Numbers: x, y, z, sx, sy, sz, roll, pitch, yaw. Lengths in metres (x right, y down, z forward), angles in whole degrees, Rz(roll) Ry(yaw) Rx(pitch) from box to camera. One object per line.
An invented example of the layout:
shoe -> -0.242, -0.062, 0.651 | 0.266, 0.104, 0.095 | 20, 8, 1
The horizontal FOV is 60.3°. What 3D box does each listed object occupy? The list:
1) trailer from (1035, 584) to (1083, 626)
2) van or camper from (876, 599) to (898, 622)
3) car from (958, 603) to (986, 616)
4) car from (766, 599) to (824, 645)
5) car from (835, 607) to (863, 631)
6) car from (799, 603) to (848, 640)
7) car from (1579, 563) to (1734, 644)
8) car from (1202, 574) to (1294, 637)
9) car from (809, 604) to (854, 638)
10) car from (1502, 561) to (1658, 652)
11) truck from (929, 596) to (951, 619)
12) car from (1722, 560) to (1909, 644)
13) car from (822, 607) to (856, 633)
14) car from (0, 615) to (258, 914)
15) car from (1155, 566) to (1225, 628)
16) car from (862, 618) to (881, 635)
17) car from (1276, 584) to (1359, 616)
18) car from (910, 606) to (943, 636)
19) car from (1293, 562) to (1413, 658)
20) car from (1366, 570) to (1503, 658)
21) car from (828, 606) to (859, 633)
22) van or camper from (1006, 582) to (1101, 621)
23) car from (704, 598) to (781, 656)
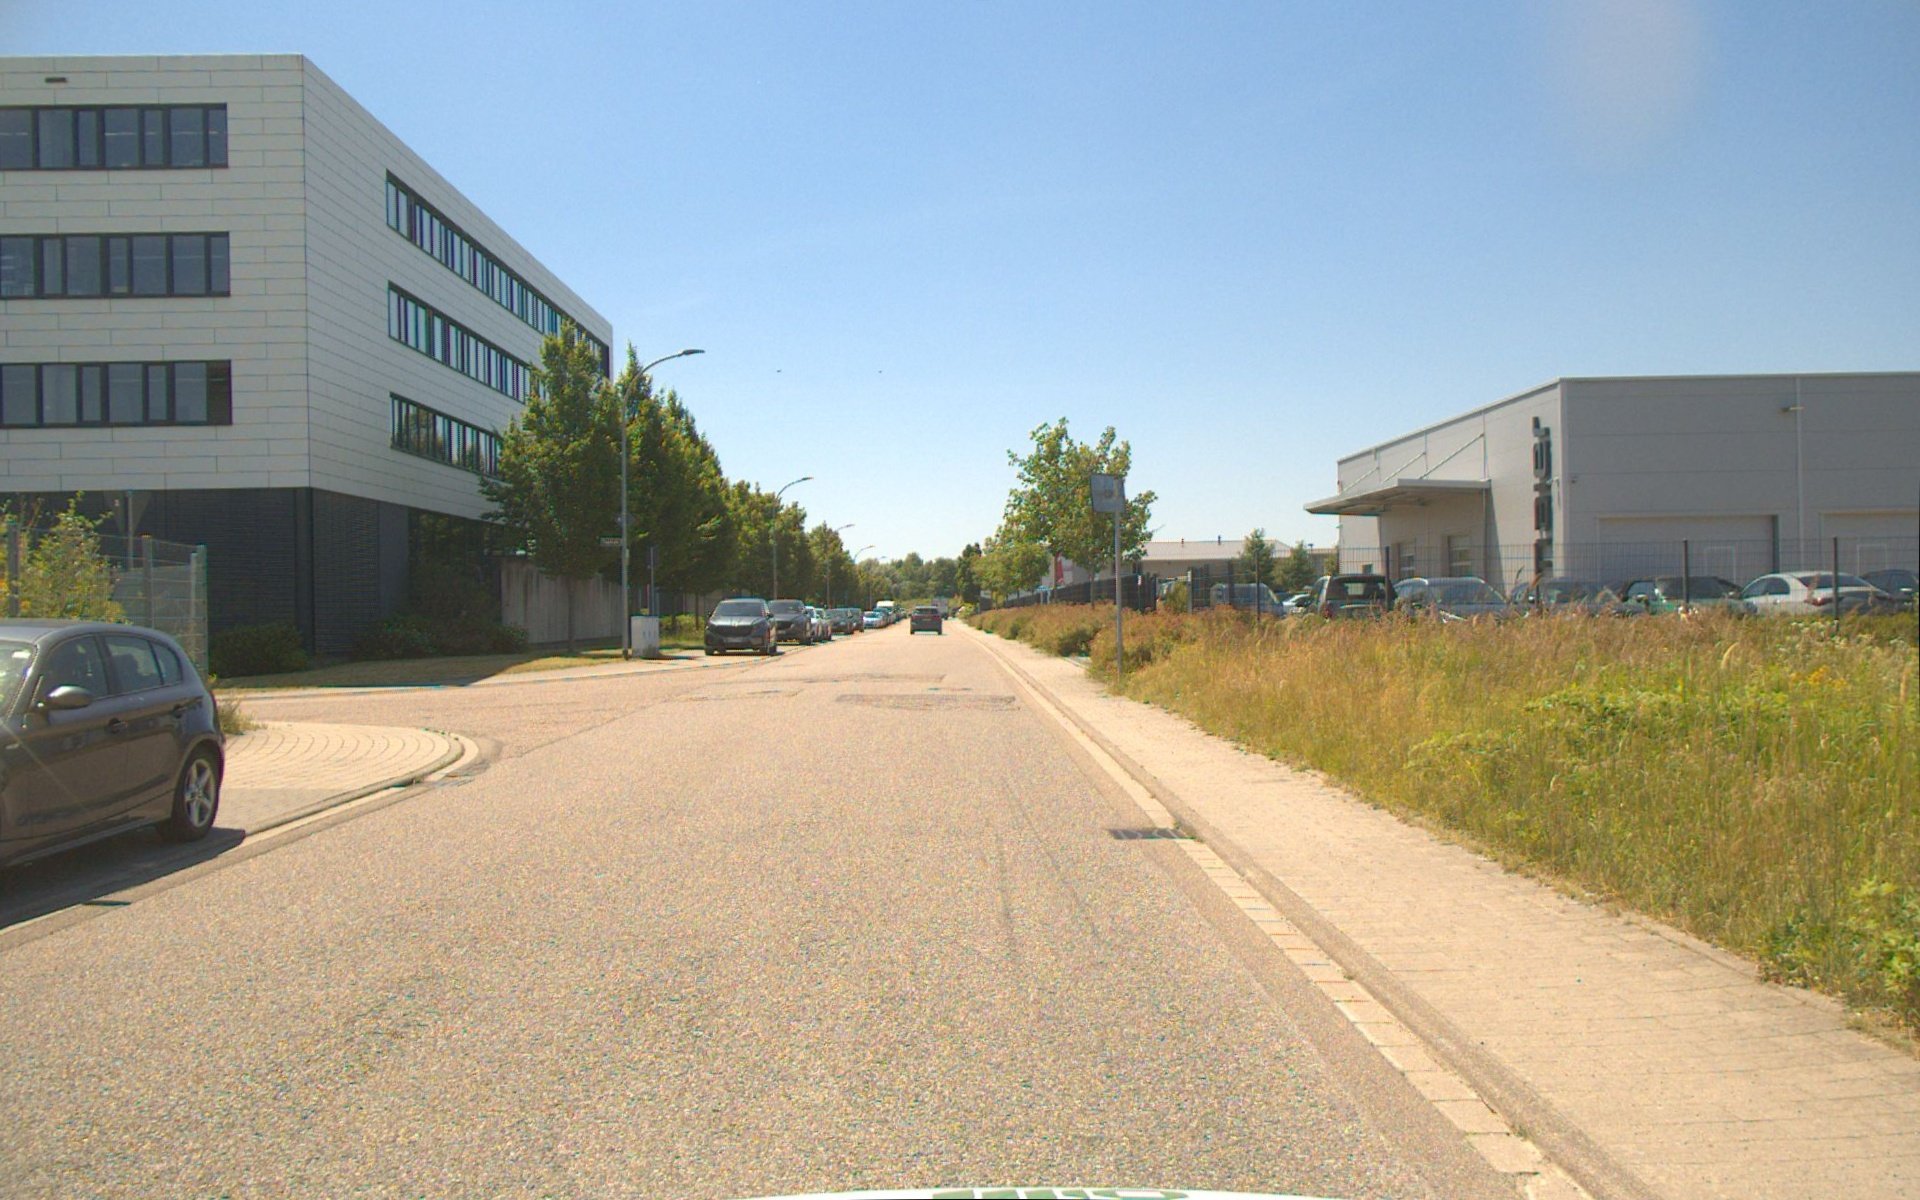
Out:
trailer -> 6.192, 0.303, 103.624 | 2.767, 2.445, 1.418 | -3, 0, -5
van or camper -> -8.305, 1.220, 188.082 | 2.035, 2.526, 6.131 | 1, -1, 1
car -> 1.730, 1.339, 234.572 | 3.798, 1.780, 1.750 | 1, -1, -3
car -> -6.048, 0.792, 60.880 | 1.735, 1.652, 4.581 | 0, 0, -1
car -> -7.687, 1.330, 114.698 | 1.735, 1.640, 4.245 | -1, -1, -2
car -> -5.585, 0.869, 67.917 | 1.735, 1.456, 4.200 | 0, 0, -1
car -> 13.269, 0.080, 31.698 | 1.428, 1.437, 3.330 | -2, -1, -2
car -> 7.790, 0.113, 44.990 | 1.773, 1.579, 3.576 | -3, 1, -1
car -> -5.606, 0.915, 72.477 | 1.735, 1.456, 3.939 | 0, 0, -1
car -> 11.364, 0.131, 30.535 | 1.484, 1.522, 3.330 | -2, -1, -2
truck -> -2.682, 1.024, 219.357 | 2.873, 3.026, 6.418 | 1, -1, -1
car -> 15.711, 0.053, 30.553 | 1.484, 1.421, 3.539 | -2, -1, -2
car -> -7.004, 1.138, 96.282 | 1.735, 1.456, 4.200 | 0, 0, -1
car -> -5.625, 0.830, 9.325 | 1.640, 1.476, 4.068 | 0, 0, -1
car -> 8.451, -0.104, 61.003 | 1.839, 2.123, 4.224 | -3, 0, -1
car -> -7.842, 2.340, 146.735 | 1.686, 1.502, 3.855 | -1, -1, -3
car -> 18.062, -0.005, 83.753 | 3.793, 1.427, 1.767 | -2, -1, 1
car -> -1.872, 1.175, 92.609 | 1.753, 1.652, 3.808 | 1, -1, -1
car -> 7.027, 0.190, 29.774 | 1.437, 1.601, 2.661 | -2, -1, -1
car -> 8.899, 0.269, 31.233 | 1.484, 1.522, 3.330 | -2, -1, -2
car -> -7.141, 1.194, 102.025 | 1.735, 1.640, 4.850 | -1, -1, -2
van or camper -> 6.773, 0.111, 119.913 | 6.621, 2.630, 2.635 | -2, -1, -2
car -> -6.366, 0.780, 48.761 | 1.735, 1.615, 4.480 | -1, -1, -1
